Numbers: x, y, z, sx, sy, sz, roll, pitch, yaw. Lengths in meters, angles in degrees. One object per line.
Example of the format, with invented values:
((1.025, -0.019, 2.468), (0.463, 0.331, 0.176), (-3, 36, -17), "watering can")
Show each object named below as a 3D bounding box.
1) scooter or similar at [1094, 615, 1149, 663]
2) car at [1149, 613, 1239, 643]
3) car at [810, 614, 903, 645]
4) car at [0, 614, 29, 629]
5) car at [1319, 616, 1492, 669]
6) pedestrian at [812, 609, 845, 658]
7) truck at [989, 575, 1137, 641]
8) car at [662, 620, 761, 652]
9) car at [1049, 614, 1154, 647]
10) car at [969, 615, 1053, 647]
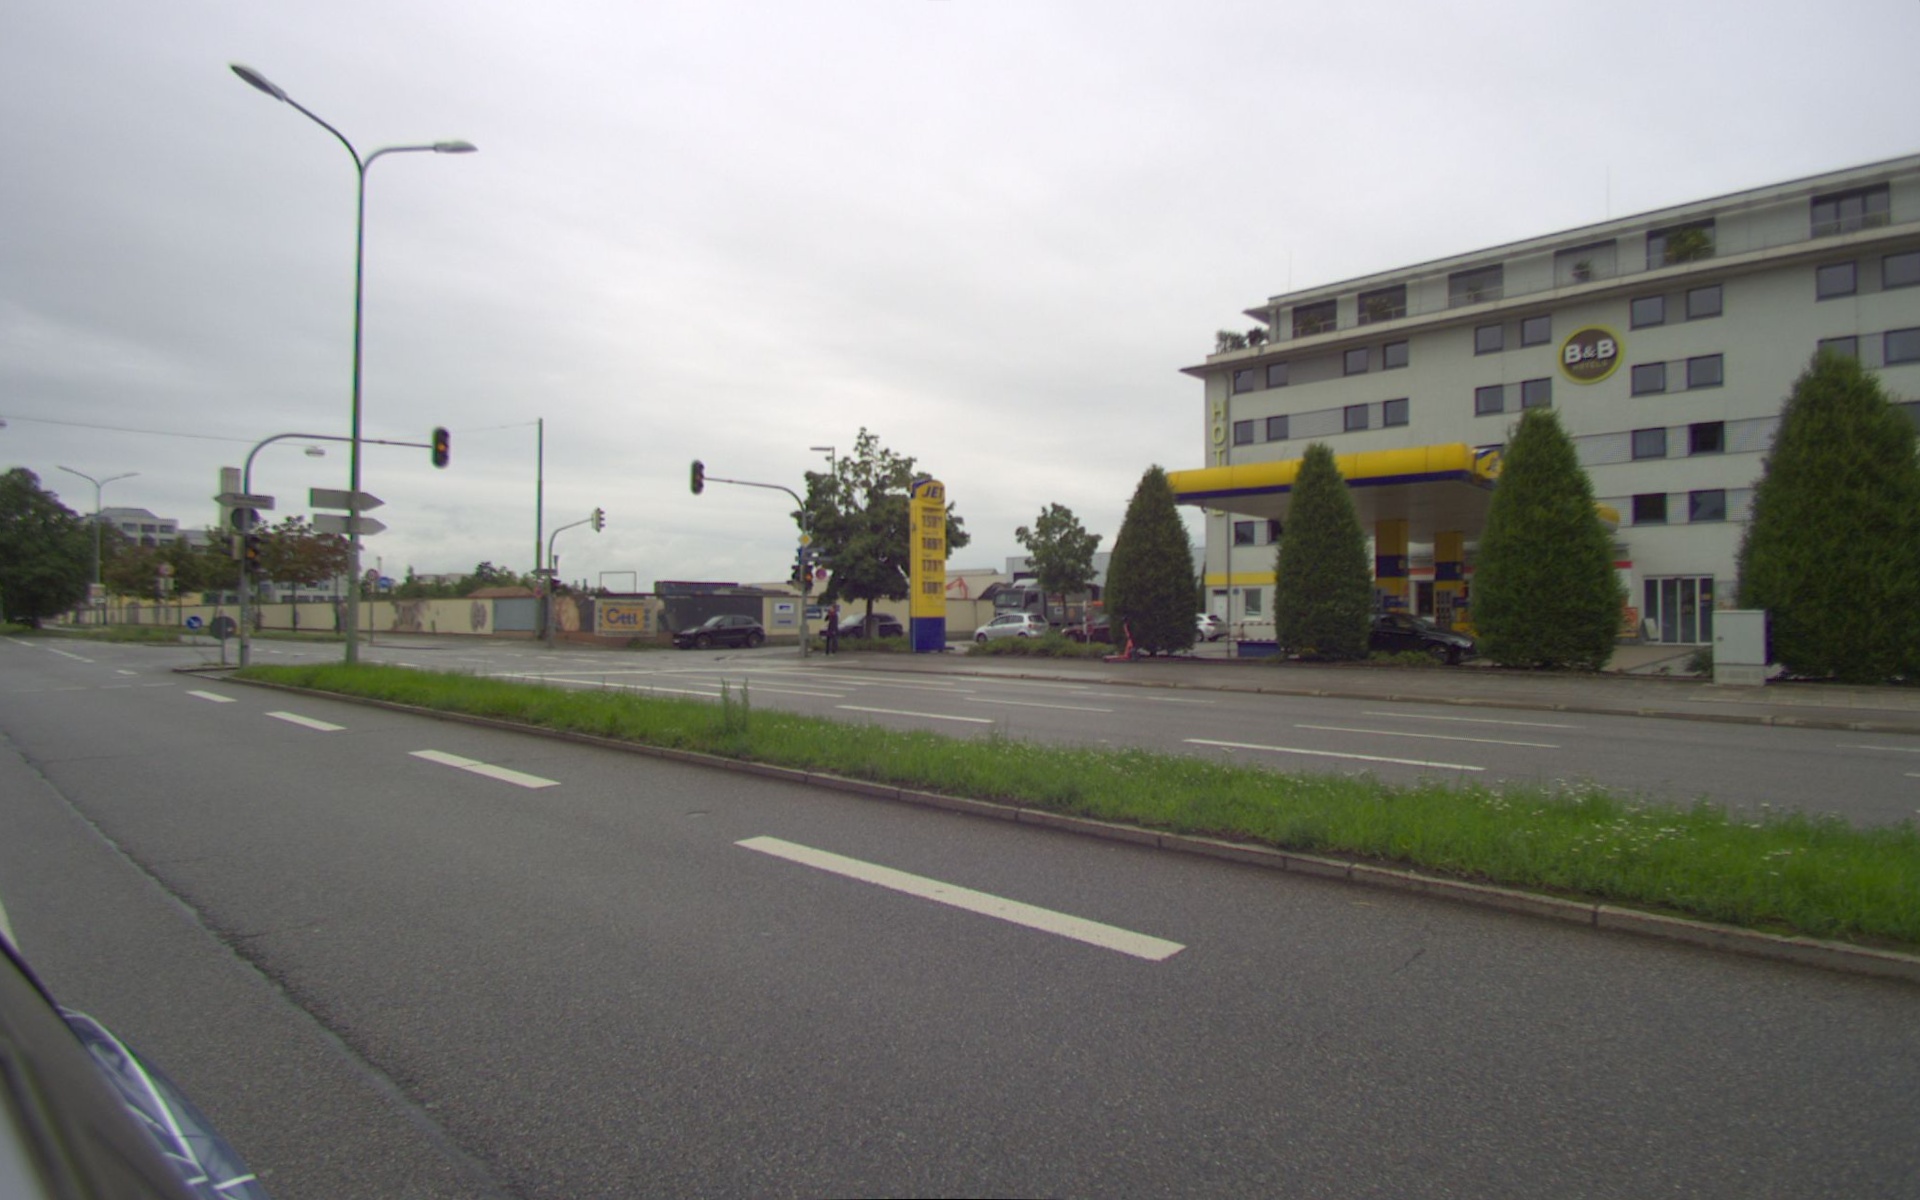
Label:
((4.337, 1.050, 27.306), (0.351, 1.252, 1.547), (-2, 0, -43), "scooter or similar")
((12.143, 1.482, 52.582), (4.192, 1.489, 1.882), (-1, -3, 42), "car")
((-5.277, 1.481, 52.006), (2.001, 1.544, 4.565), (-1, -1, 45), "car")
((-100.576, 2.285, 107.621), (4.439, 1.519, 1.890), (-1, -3, 43), "car")
((12.140, 1.128, 27.683), (3.998, 1.342, 1.776), (-1, -3, 41), "car")
((-4.451, 1.119, 34.299), (0.687, 1.627, 0.794), (-1, 0, 42), "pedestrian")
((6.840, 0.536, 64.888), (2.611, 3.885, 11.761), (-2, -1, 45), "truck")
((-11.848, 1.696, 48.385), (2.001, 1.439, 4.202), (-1, -1, 45), "car")
((6.293, 1.340, 45.067), (4.350, 1.394, 1.685), (-1, -3, 33), "car")
((2.452, 1.524, 49.406), (3.976, 1.497, 1.606), (-1, -3, 41), "car")
